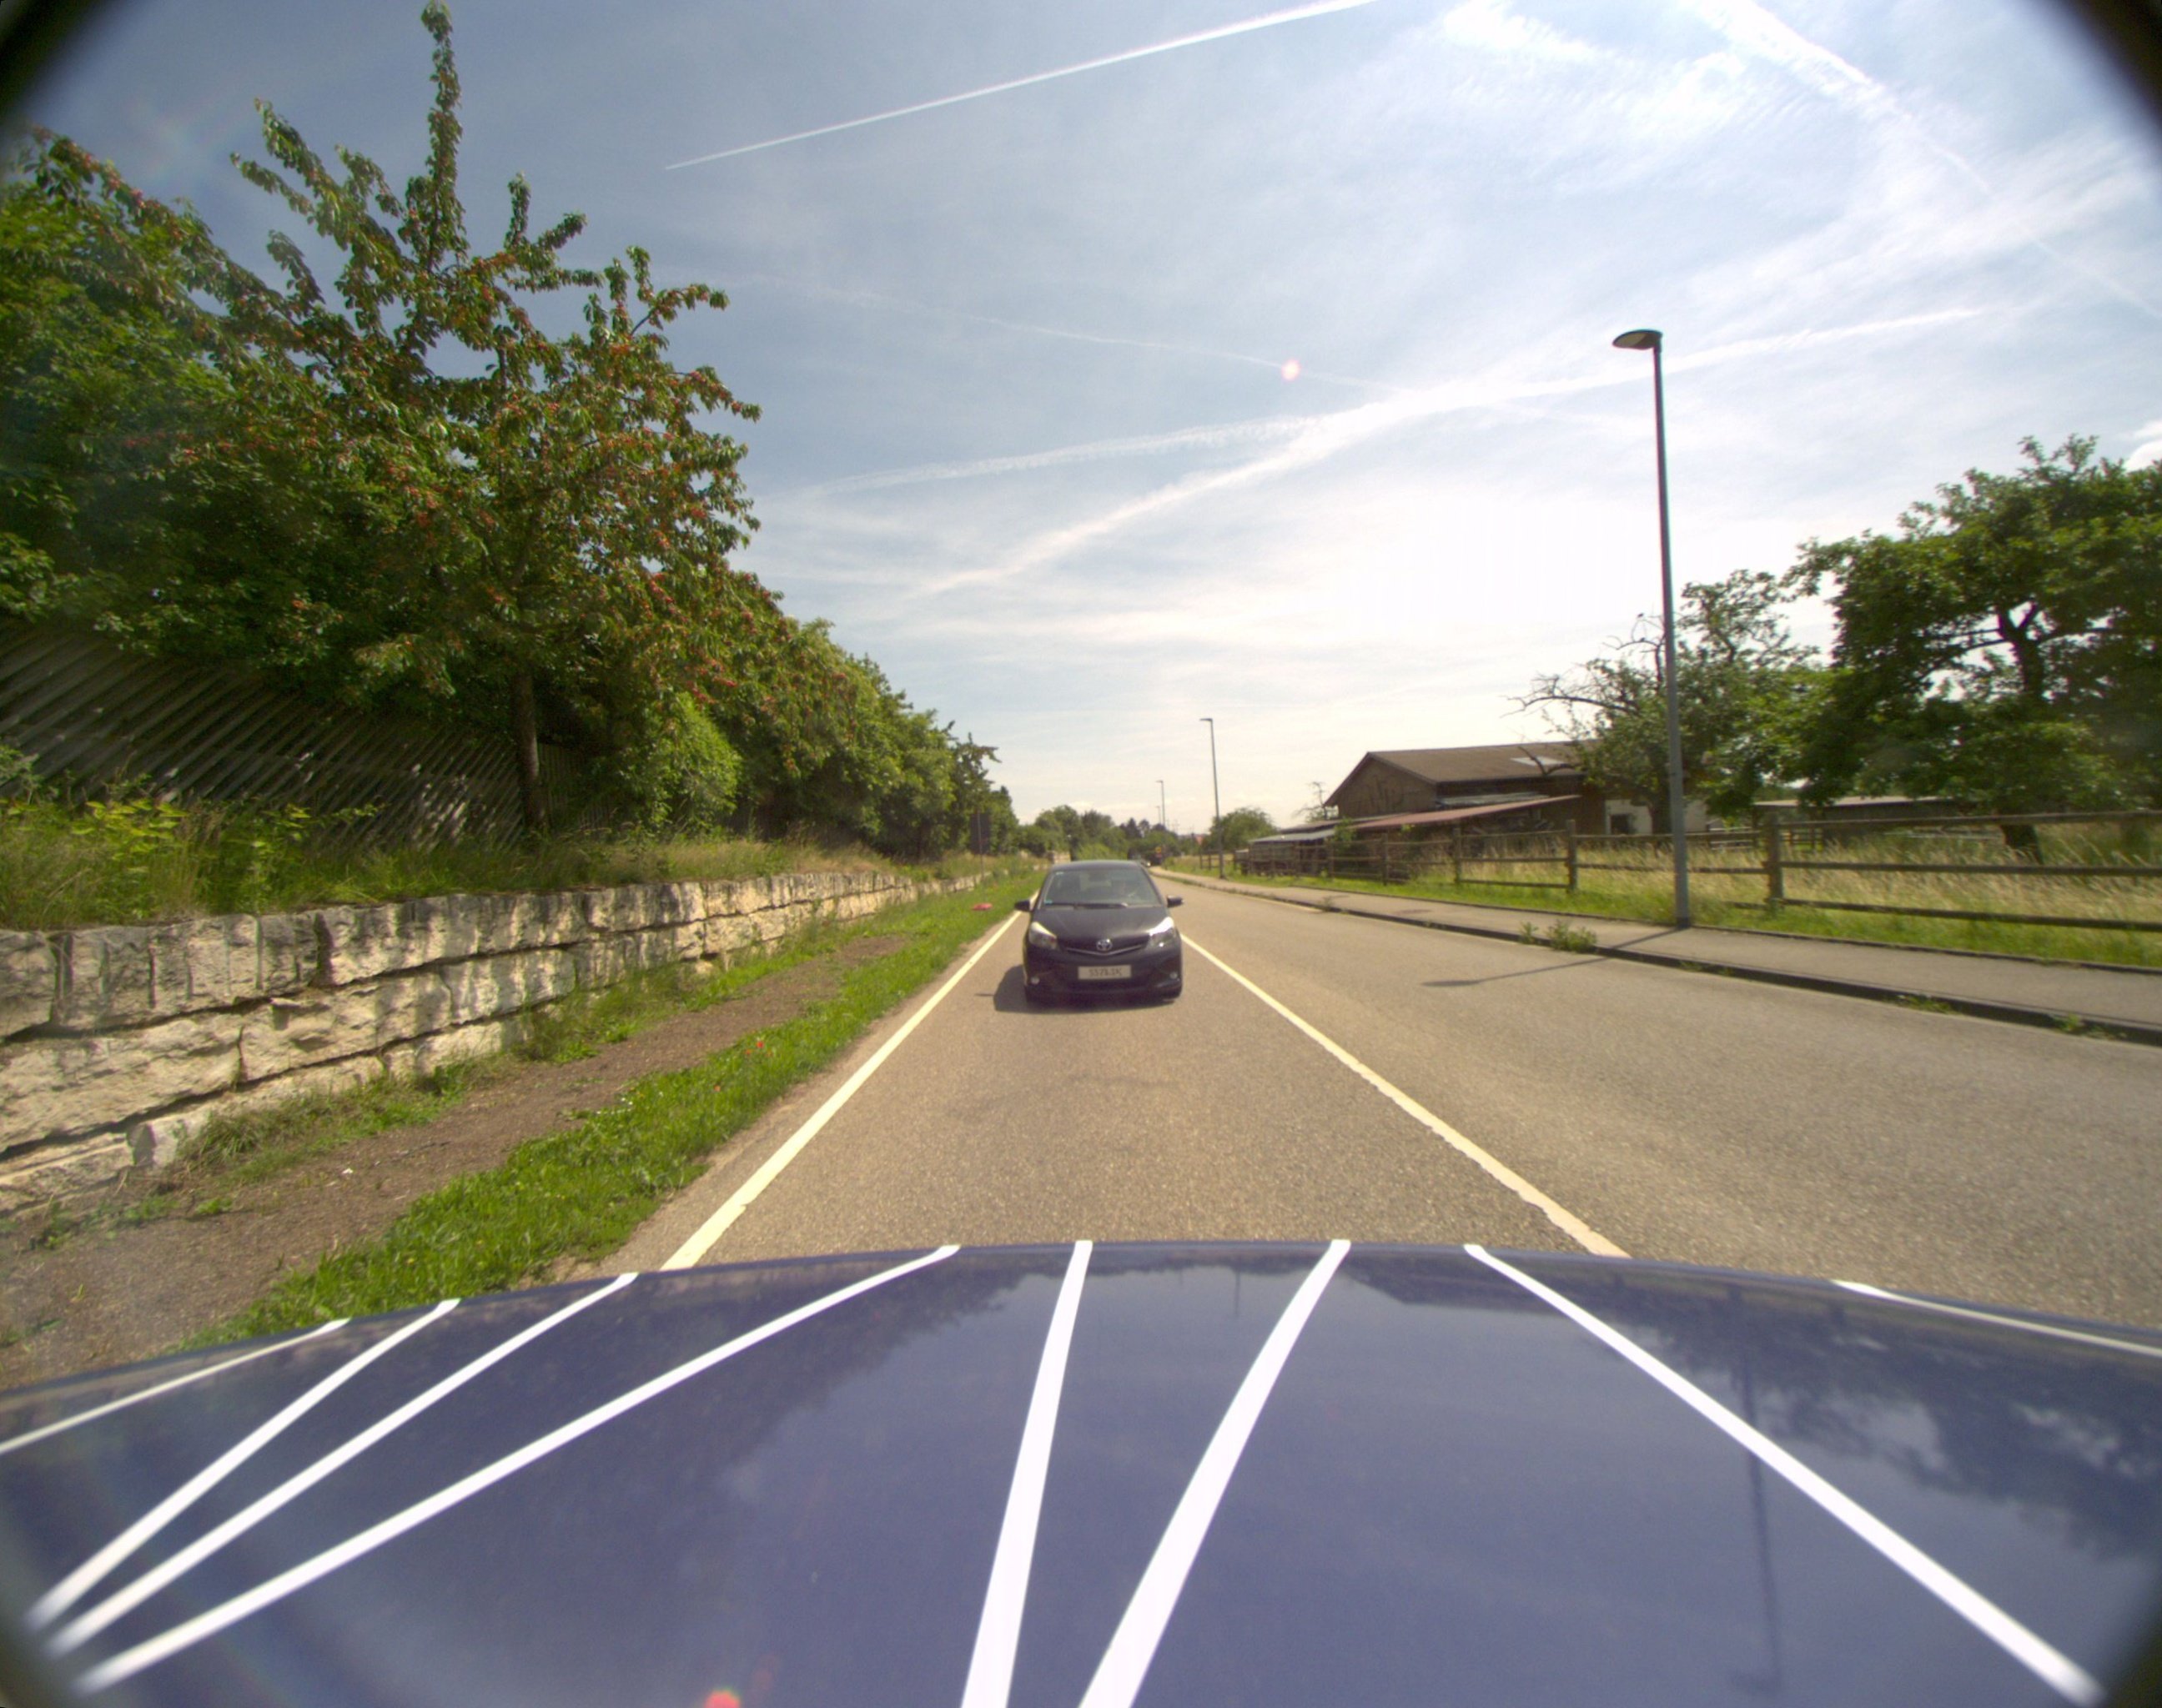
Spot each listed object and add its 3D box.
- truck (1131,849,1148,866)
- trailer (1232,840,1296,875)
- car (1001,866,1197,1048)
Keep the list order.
[{"bbox_3d":[8.300,0.486,107.338,2.227,2.280,6.494,-2,0,6],"label":"truck"},{"bbox_3d":[9.679,0.167,40.579,2.160,1.693,5.029,-2,0,0],"label":"trailer"},{"bbox_3d":[0.179,0.931,8.818,1.677,1.456,4.432,-1,0,1],"label":"car"}]
